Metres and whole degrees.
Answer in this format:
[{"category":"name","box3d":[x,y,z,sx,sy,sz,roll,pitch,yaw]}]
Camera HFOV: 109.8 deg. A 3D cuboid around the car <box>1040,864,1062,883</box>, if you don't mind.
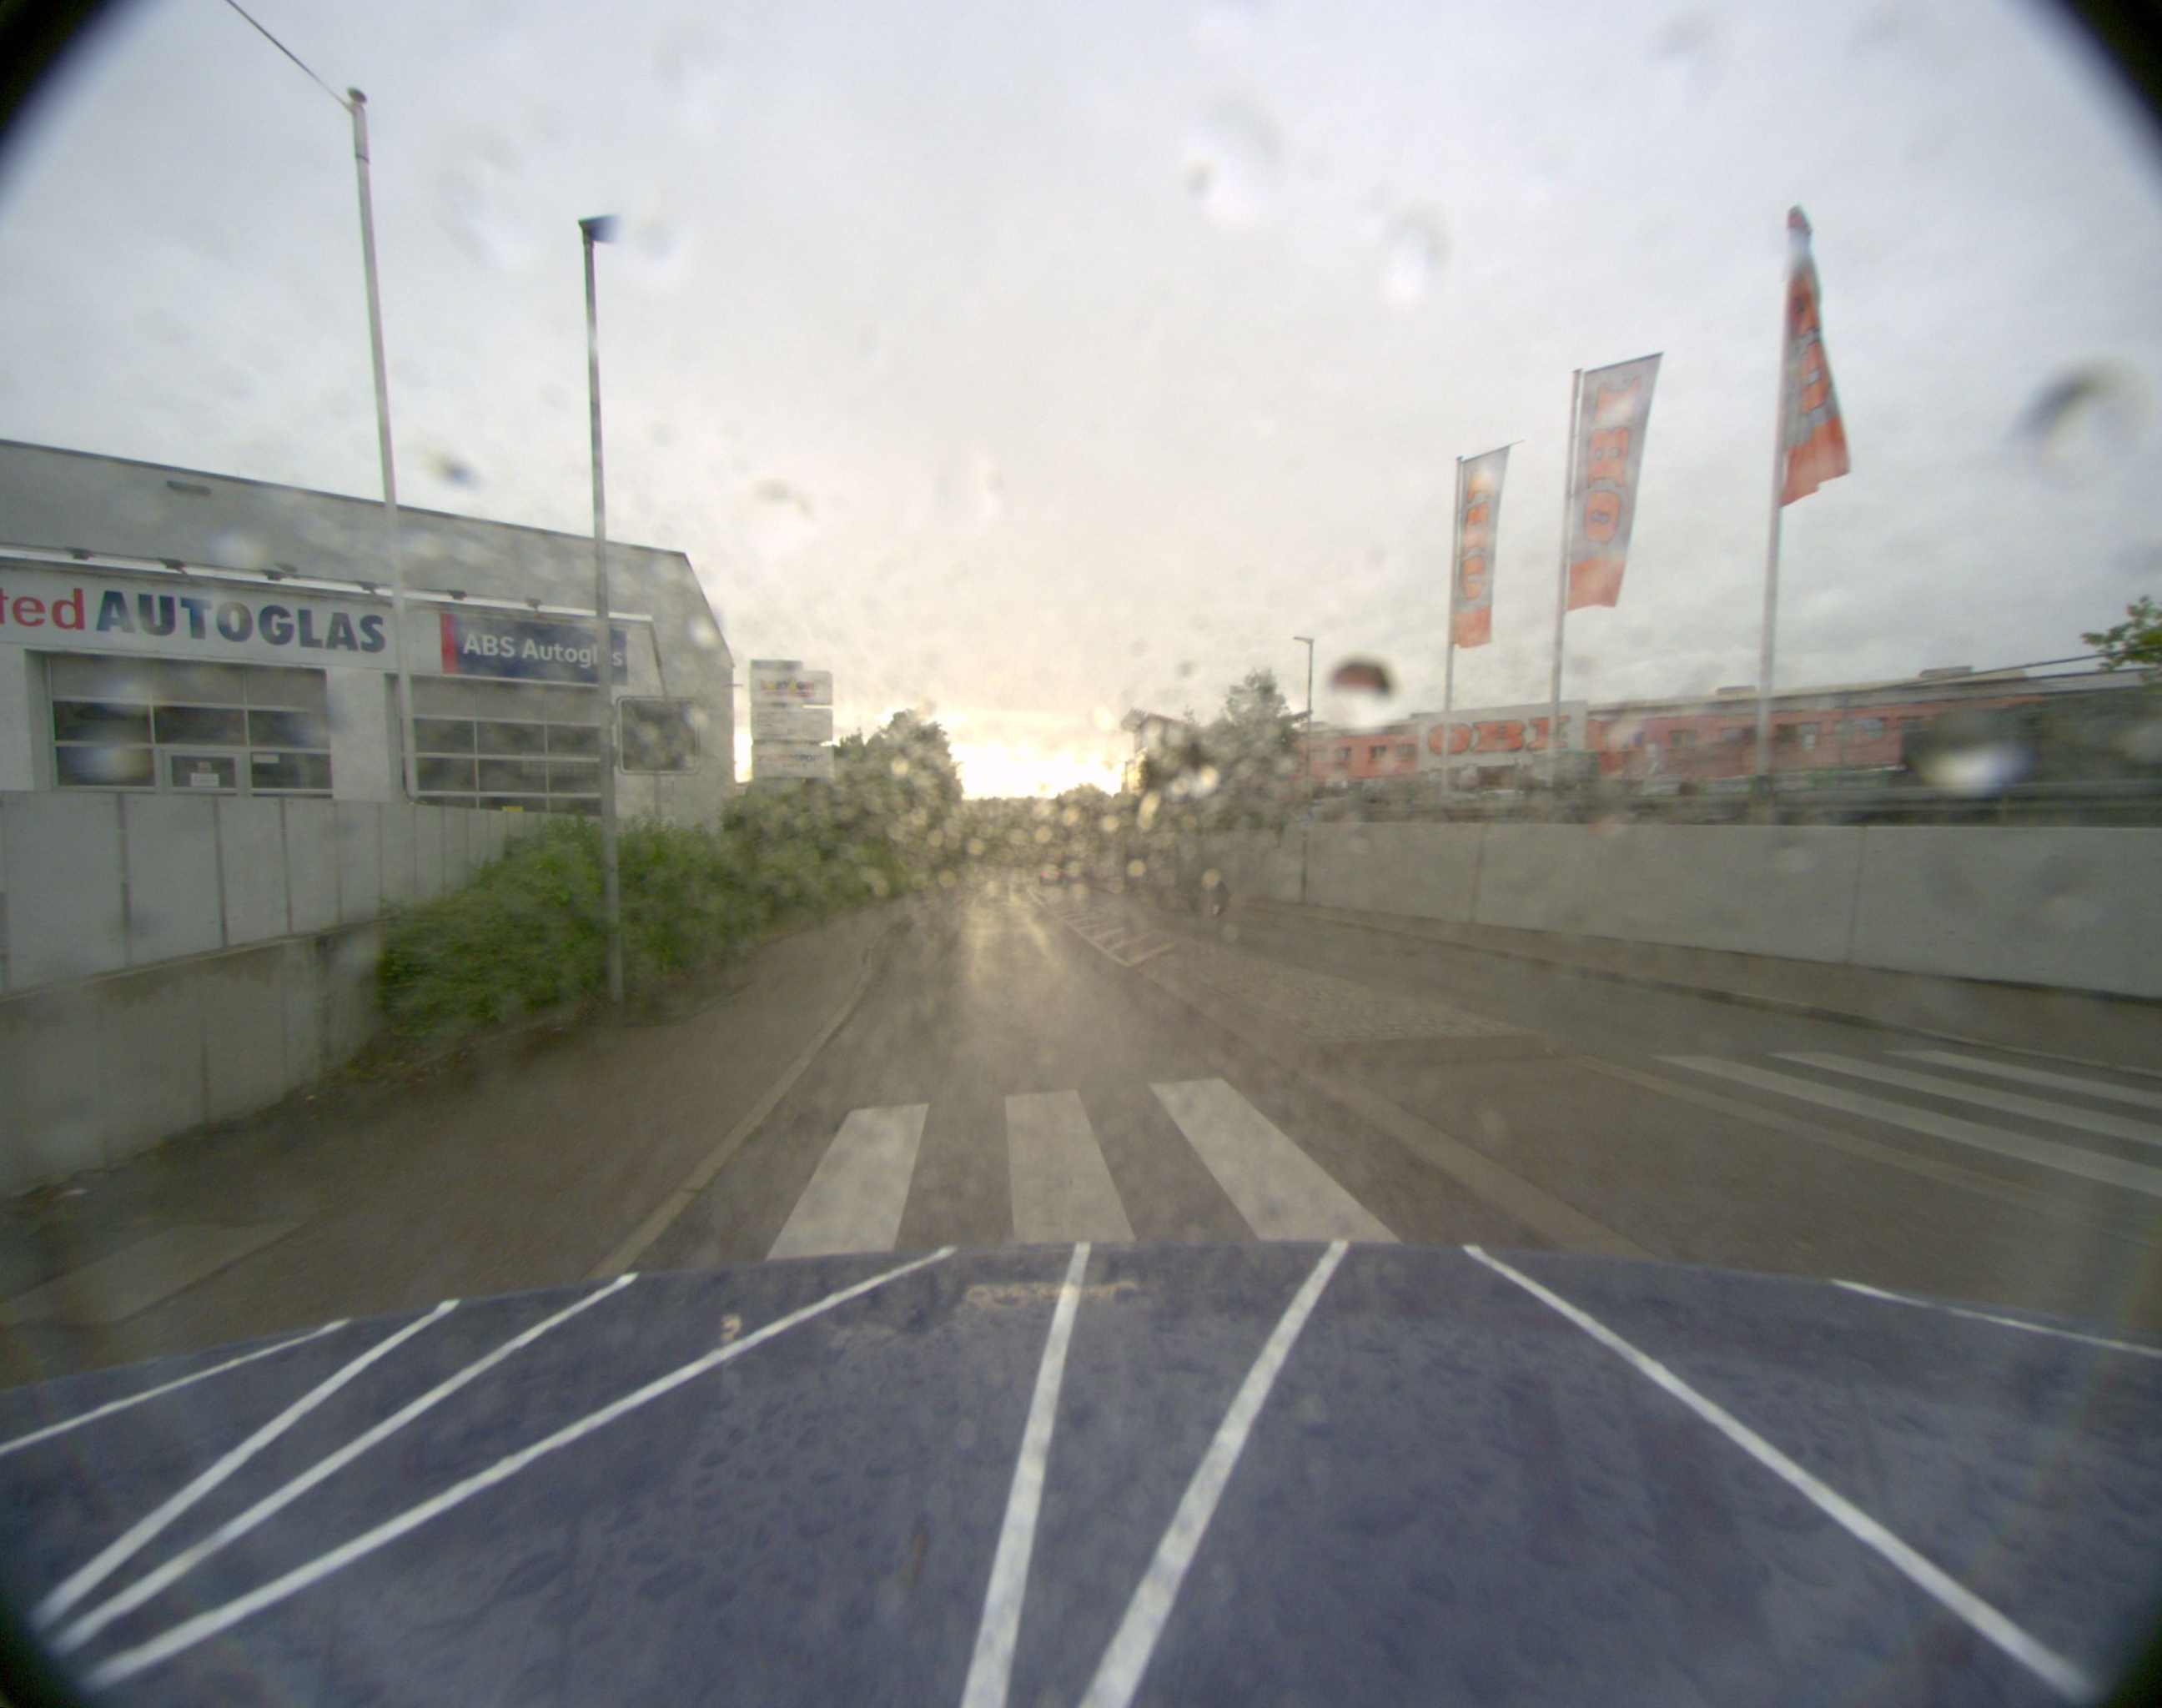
[{"category":"car","box3d":[-2.467,1.602,63.649,1.809,1.455,3.999,0,0,-1]}]
